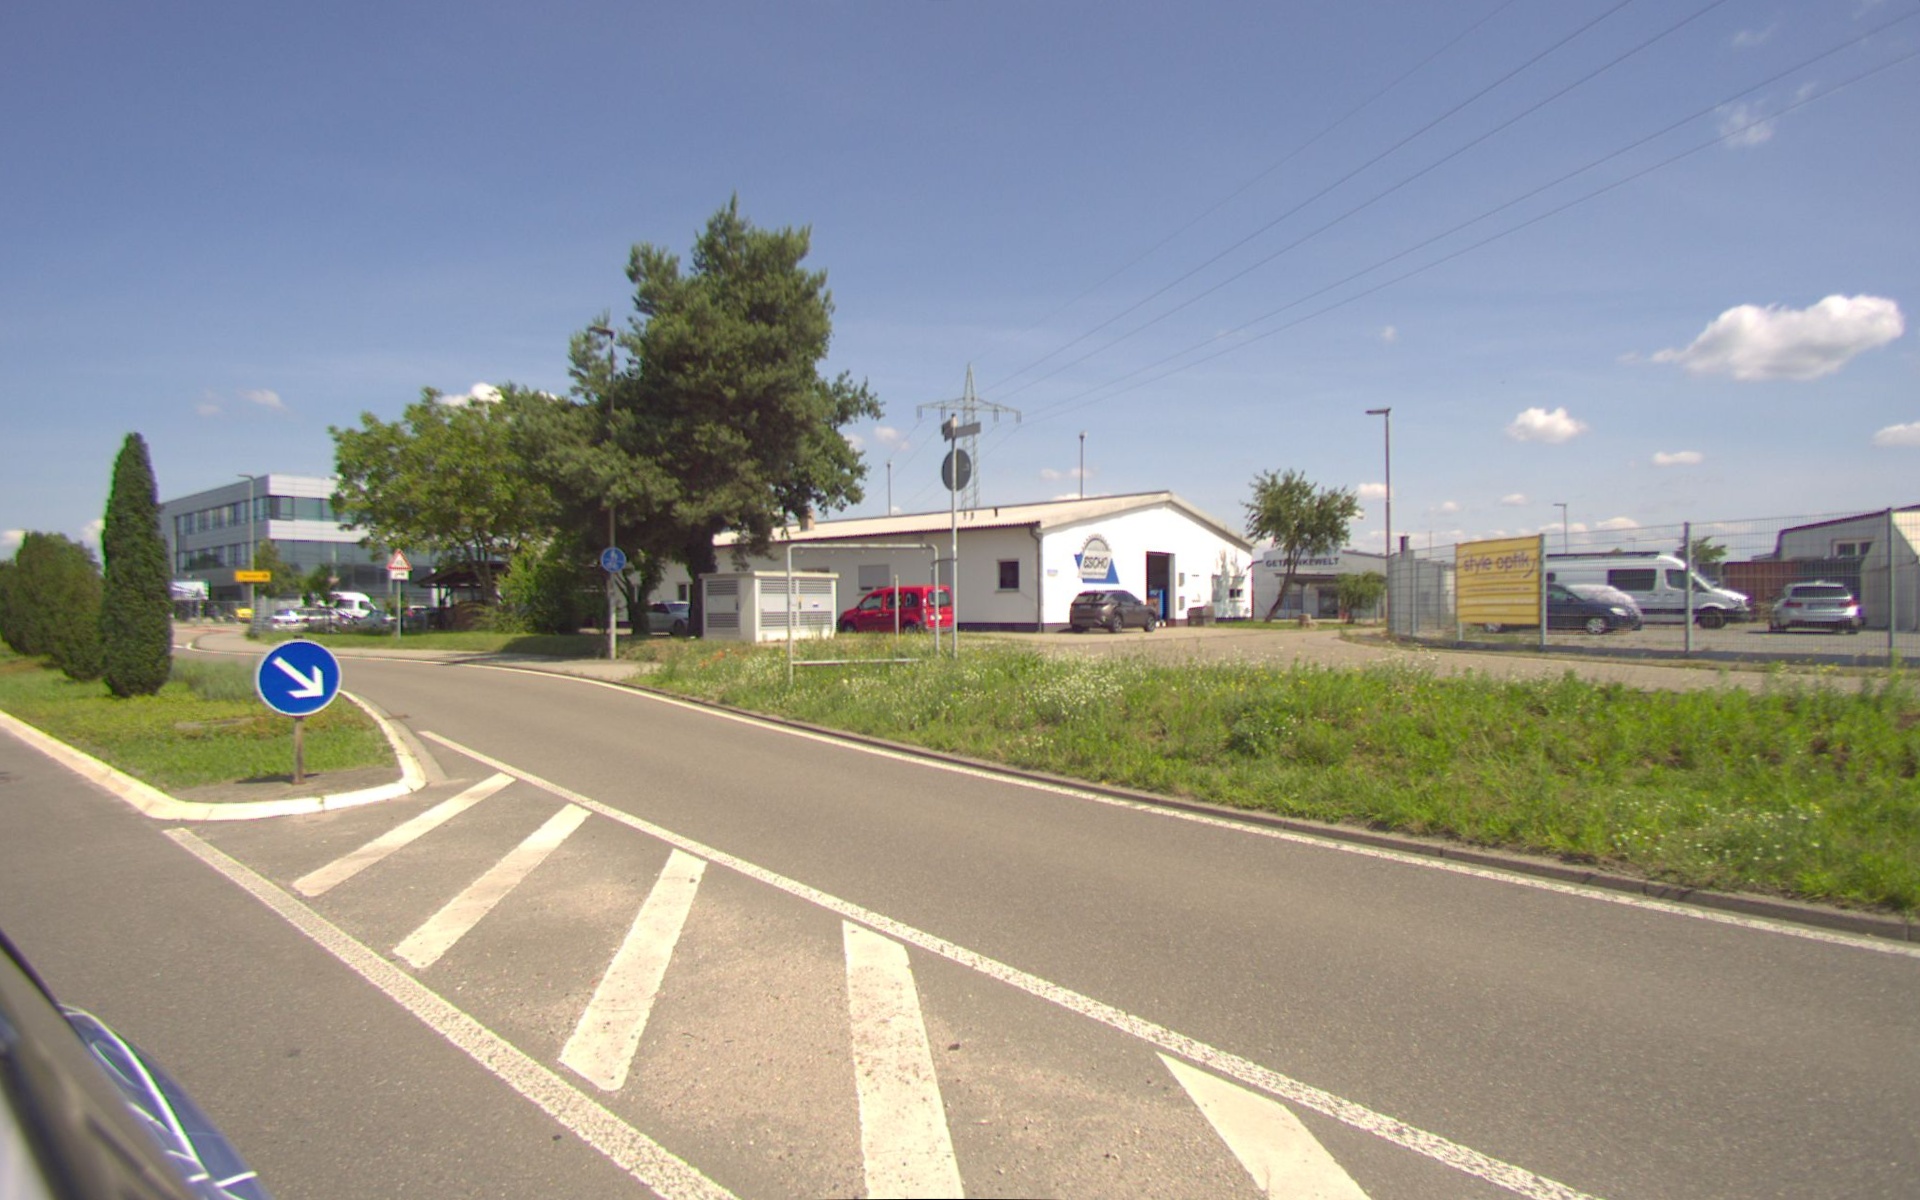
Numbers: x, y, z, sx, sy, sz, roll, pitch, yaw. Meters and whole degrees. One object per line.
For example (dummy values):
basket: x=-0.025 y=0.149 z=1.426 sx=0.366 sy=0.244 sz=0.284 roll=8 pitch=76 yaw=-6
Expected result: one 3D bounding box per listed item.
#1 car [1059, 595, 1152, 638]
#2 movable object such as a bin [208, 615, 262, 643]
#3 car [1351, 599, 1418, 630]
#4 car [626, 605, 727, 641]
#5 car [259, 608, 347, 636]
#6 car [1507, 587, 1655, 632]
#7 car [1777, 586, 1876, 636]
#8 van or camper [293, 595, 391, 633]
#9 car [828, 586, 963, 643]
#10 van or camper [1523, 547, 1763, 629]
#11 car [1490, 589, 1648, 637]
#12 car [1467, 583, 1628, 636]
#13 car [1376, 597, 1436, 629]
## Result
car: x=5.585 y=0.606 z=38.576 sx=1.932 sy=1.536 sz=3.952 roll=-1 pitch=0 yaw=35
movable object such as a bin: x=-67.715 y=2.676 z=94.483 sx=5.441 sy=2.428 sz=2.149 roll=0 pitch=0 yaw=31
car: x=22.417 y=0.738 z=53.356 sx=1.998 sy=1.567 sz=4.752 roll=-1 pitch=0 yaw=39
car: x=-12.025 y=0.963 z=42.793 sx=4.513 sy=1.419 sz=1.973 roll=-1 pitch=-1 yaw=41
car: x=-37.687 y=1.227 z=58.073 sx=3.939 sy=1.530 sz=2.002 roll=0 pitch=-1 yaw=-43
car: x=20.876 y=0.337 z=34.106 sx=3.998 sy=1.444 sz=1.900 roll=-1 pitch=-1 yaw=41
car: x=24.621 y=0.292 z=28.716 sx=2.000 sy=1.320 sz=3.944 roll=-1 pitch=-1 yaw=42
van or camper: x=-42.470 y=0.951 z=69.736 sx=5.491 sy=2.516 sz=2.085 roll=0 pitch=0 yaw=-22
car: x=-2.165 y=0.486 z=33.447 sx=4.224 sy=1.758 sz=1.974 roll=-1 pitch=-1 yaw=39
van or camper: x=23.753 y=-0.326 z=35.447 sx=6.766 sy=2.619 sz=1.973 roll=-1 pitch=-1 yaw=41
car: x=19.216 y=0.414 z=32.009 sx=3.998 sy=1.444 sz=1.900 roll=-1 pitch=-1 yaw=41
car: x=17.363 y=0.297 z=29.962 sx=3.991 sy=1.444 sz=1.903 roll=-1 pitch=-1 yaw=35
car: x=25.339 y=0.712 z=57.422 sx=1.998 sy=1.756 sz=4.434 roll=-1 pitch=-1 yaw=40
